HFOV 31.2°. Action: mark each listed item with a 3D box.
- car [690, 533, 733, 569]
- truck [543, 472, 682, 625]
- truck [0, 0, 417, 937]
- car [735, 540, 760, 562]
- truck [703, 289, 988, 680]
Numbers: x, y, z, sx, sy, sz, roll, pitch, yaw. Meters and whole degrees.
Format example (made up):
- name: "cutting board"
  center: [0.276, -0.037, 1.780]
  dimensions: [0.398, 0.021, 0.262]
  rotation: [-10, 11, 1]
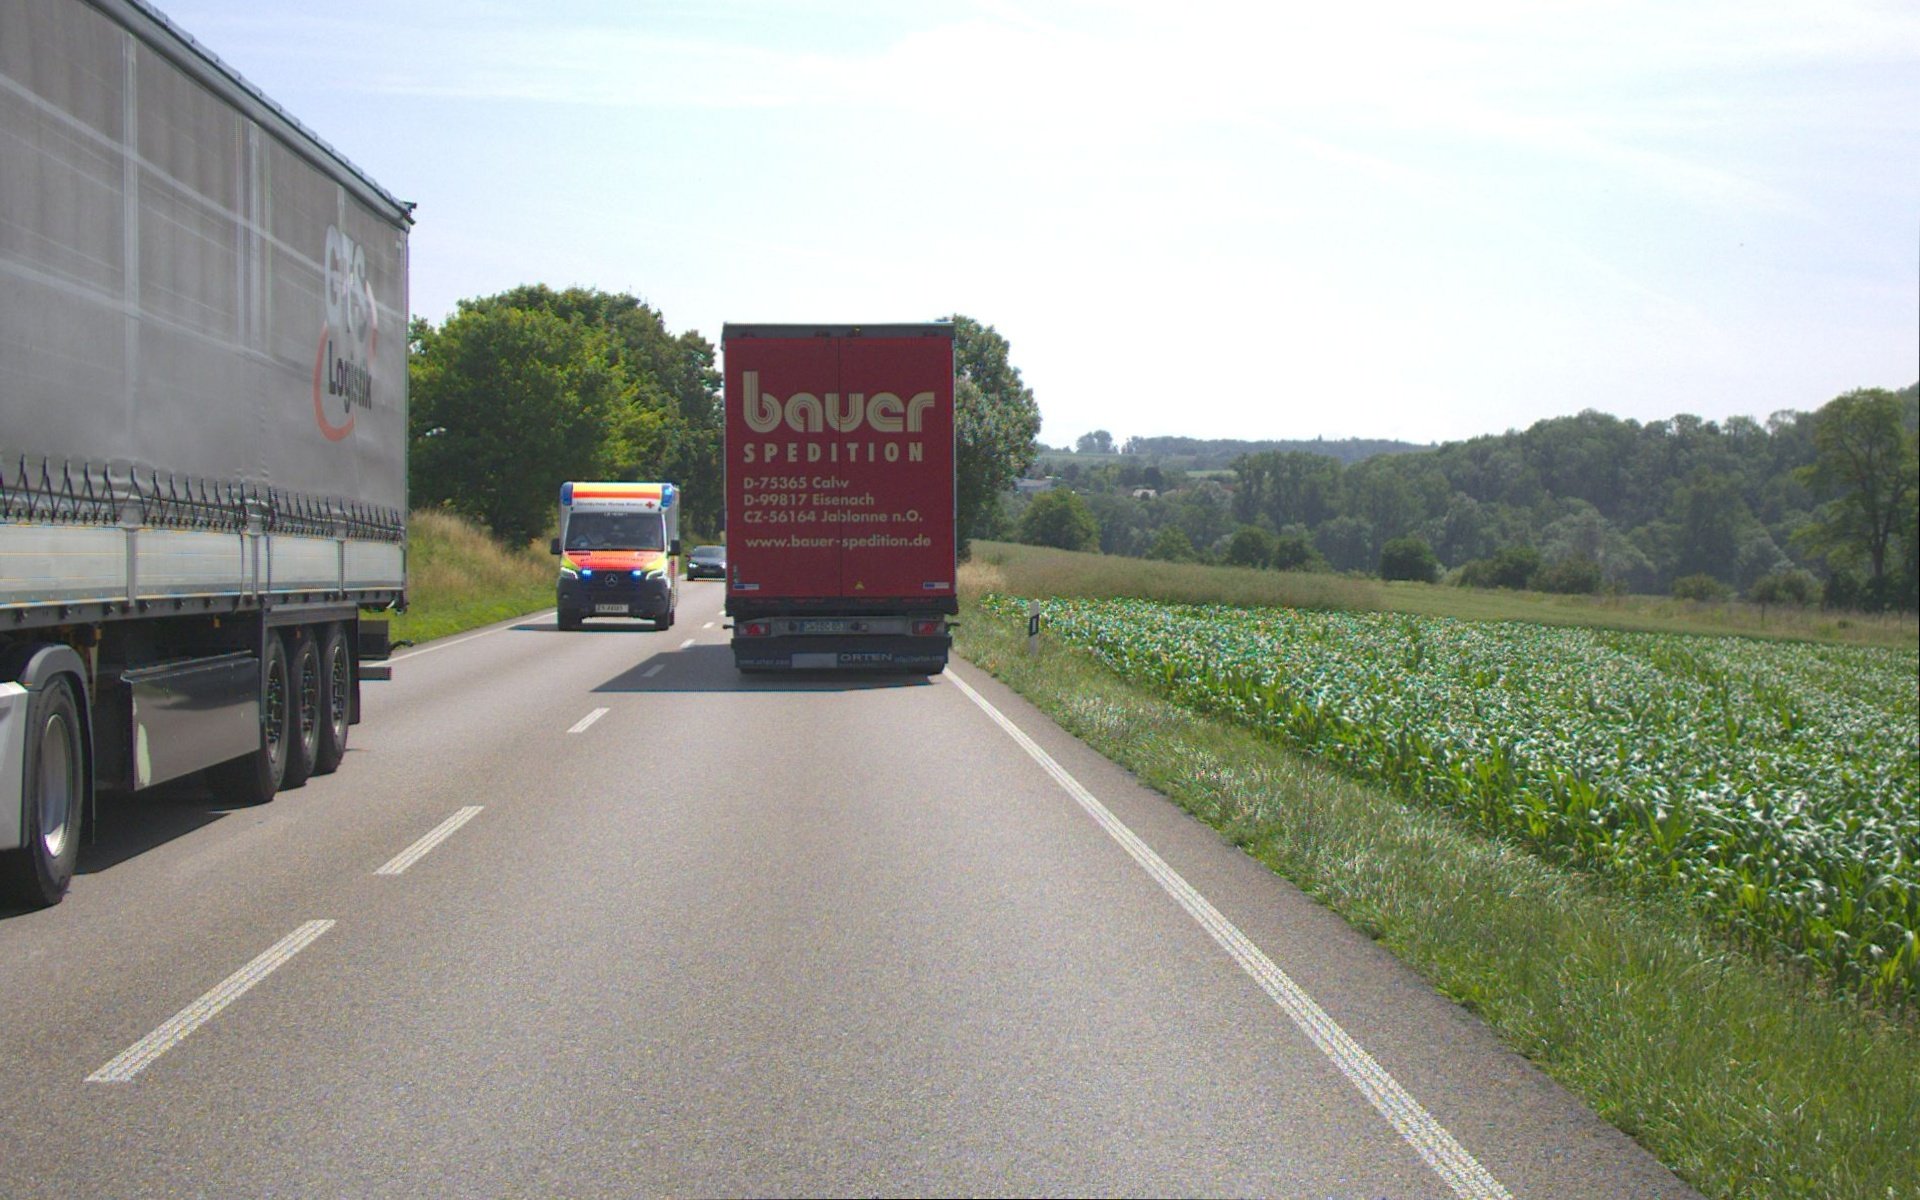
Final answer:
- name: "car"
  center: [-10.378, -2.062, 143.765]
  dimensions: [1.673, 1.452, 4.351]
  rotation: [0, 1, -3]
- name: "truck"
  center: [-6.319, -0.931, 63.147]
  dimensions: [2.207, 2.663, 6.418]
  rotation: [0, 1, -3]
- name: "truck"
  center: [-5.181, -0.793, 17.362]
  dimensions: [2.826, 3.979, 16.535]
  rotation: [0, 1, -2]
- name: "car"
  center: [-15.171, -3.470, 245.894]
  dimensions: [1.656, 1.529, 4.358]
  rotation: [1, 1, -2]
- name: "truck"
  center: [-1.307, -1.276, 41.666]
  dimensions: [3.094, 4.248, 8.314]
  rotation: [0, 0, -1]
